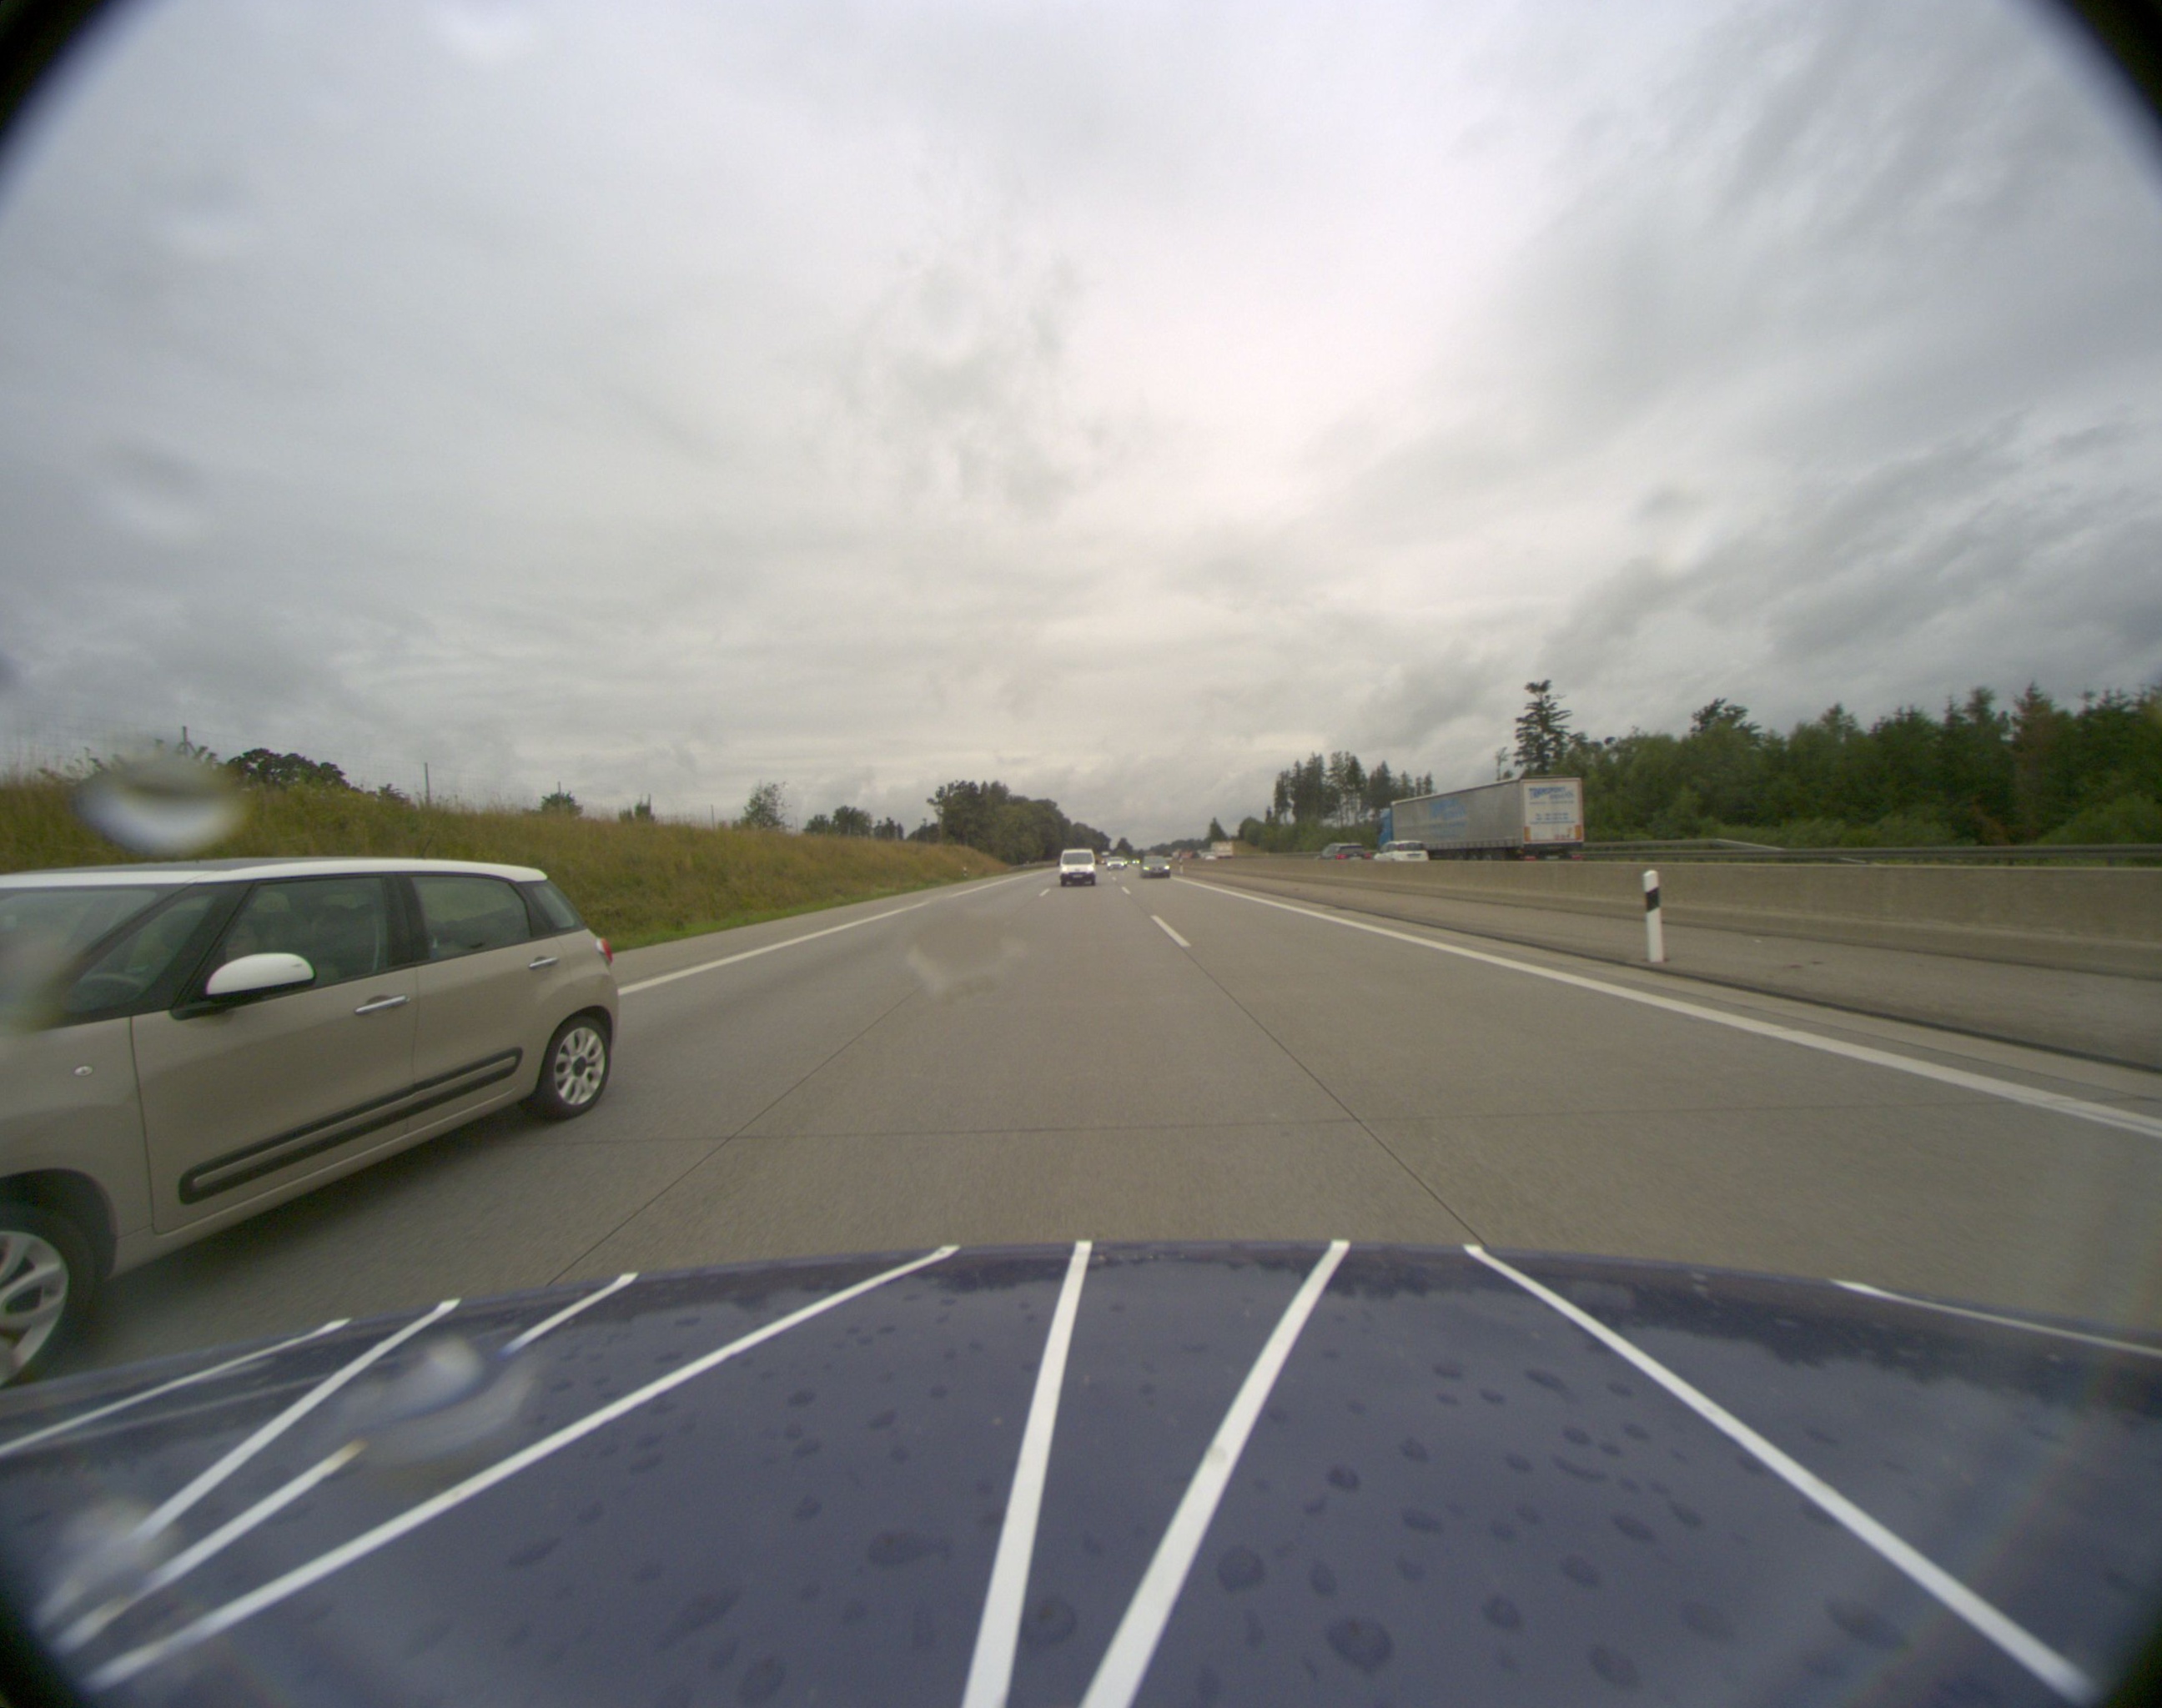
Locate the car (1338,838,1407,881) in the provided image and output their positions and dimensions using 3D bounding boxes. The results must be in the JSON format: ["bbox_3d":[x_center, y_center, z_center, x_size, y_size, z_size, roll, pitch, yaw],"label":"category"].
[{"bbox_3d":[12.464,0.212,32.737,1.536,1.661,4.000,-2,0,2],"label":"car"}]

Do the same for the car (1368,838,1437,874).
[{"bbox_3d":[15.925,0.093,37.867,1.618,1.641,4.295,-2,0,1],"label":"car"}]

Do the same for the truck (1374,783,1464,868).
[{"bbox_3d":[20.026,-1.616,45.335,2.935,4.649,5.232,-2,0,1],"label":"truck"}]

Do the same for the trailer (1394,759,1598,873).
[{"bbox_3d":[19.916,-1.578,38.145,2.923,4.598,13.637,-2,0,1],"label":"trailer"}]

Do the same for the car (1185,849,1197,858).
[{"bbox_3d":[20.388,-0.053,141.178,1.633,1.557,4.411,-2,0,2],"label":"car"}]

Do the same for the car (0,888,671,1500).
[{"bbox_3d":[-4.019,1.089,3.440,1.789,1.595,4.570,-2,0,0],"label":"car"}]

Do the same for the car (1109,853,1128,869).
[{"bbox_3d":[4.280,0.792,86.708,2.031,1.669,4.319,-2,0,3],"label":"car"}]

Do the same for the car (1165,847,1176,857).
[{"bbox_3d":[24.354,-0.550,207.160,2.627,2.386,7.518,-2,0,3],"label":"car"}]

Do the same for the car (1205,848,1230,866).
[{"bbox_3d":[13.419,0.287,75.031,1.702,1.605,4.720,-2,0,2],"label":"car"}]

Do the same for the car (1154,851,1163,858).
[{"bbox_3d":[18.876,0.063,184.688,1.746,1.557,4.500,-2,0,2],"label":"car"}]

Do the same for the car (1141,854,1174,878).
[{"bbox_3d":[4.995,0.740,49.974,1.789,1.472,4.571,-2,0,2],"label":"car"}]

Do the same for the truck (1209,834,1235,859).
[{"bbox_3d":[23.240,-1.142,125.607,2.906,3.841,8.901,-2,0,2],"label":"truck"}]

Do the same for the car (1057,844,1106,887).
[{"bbox_3d":[0.115,0.575,41.199,2.042,2.111,6.070,-2,0,5],"label":"car"}]
